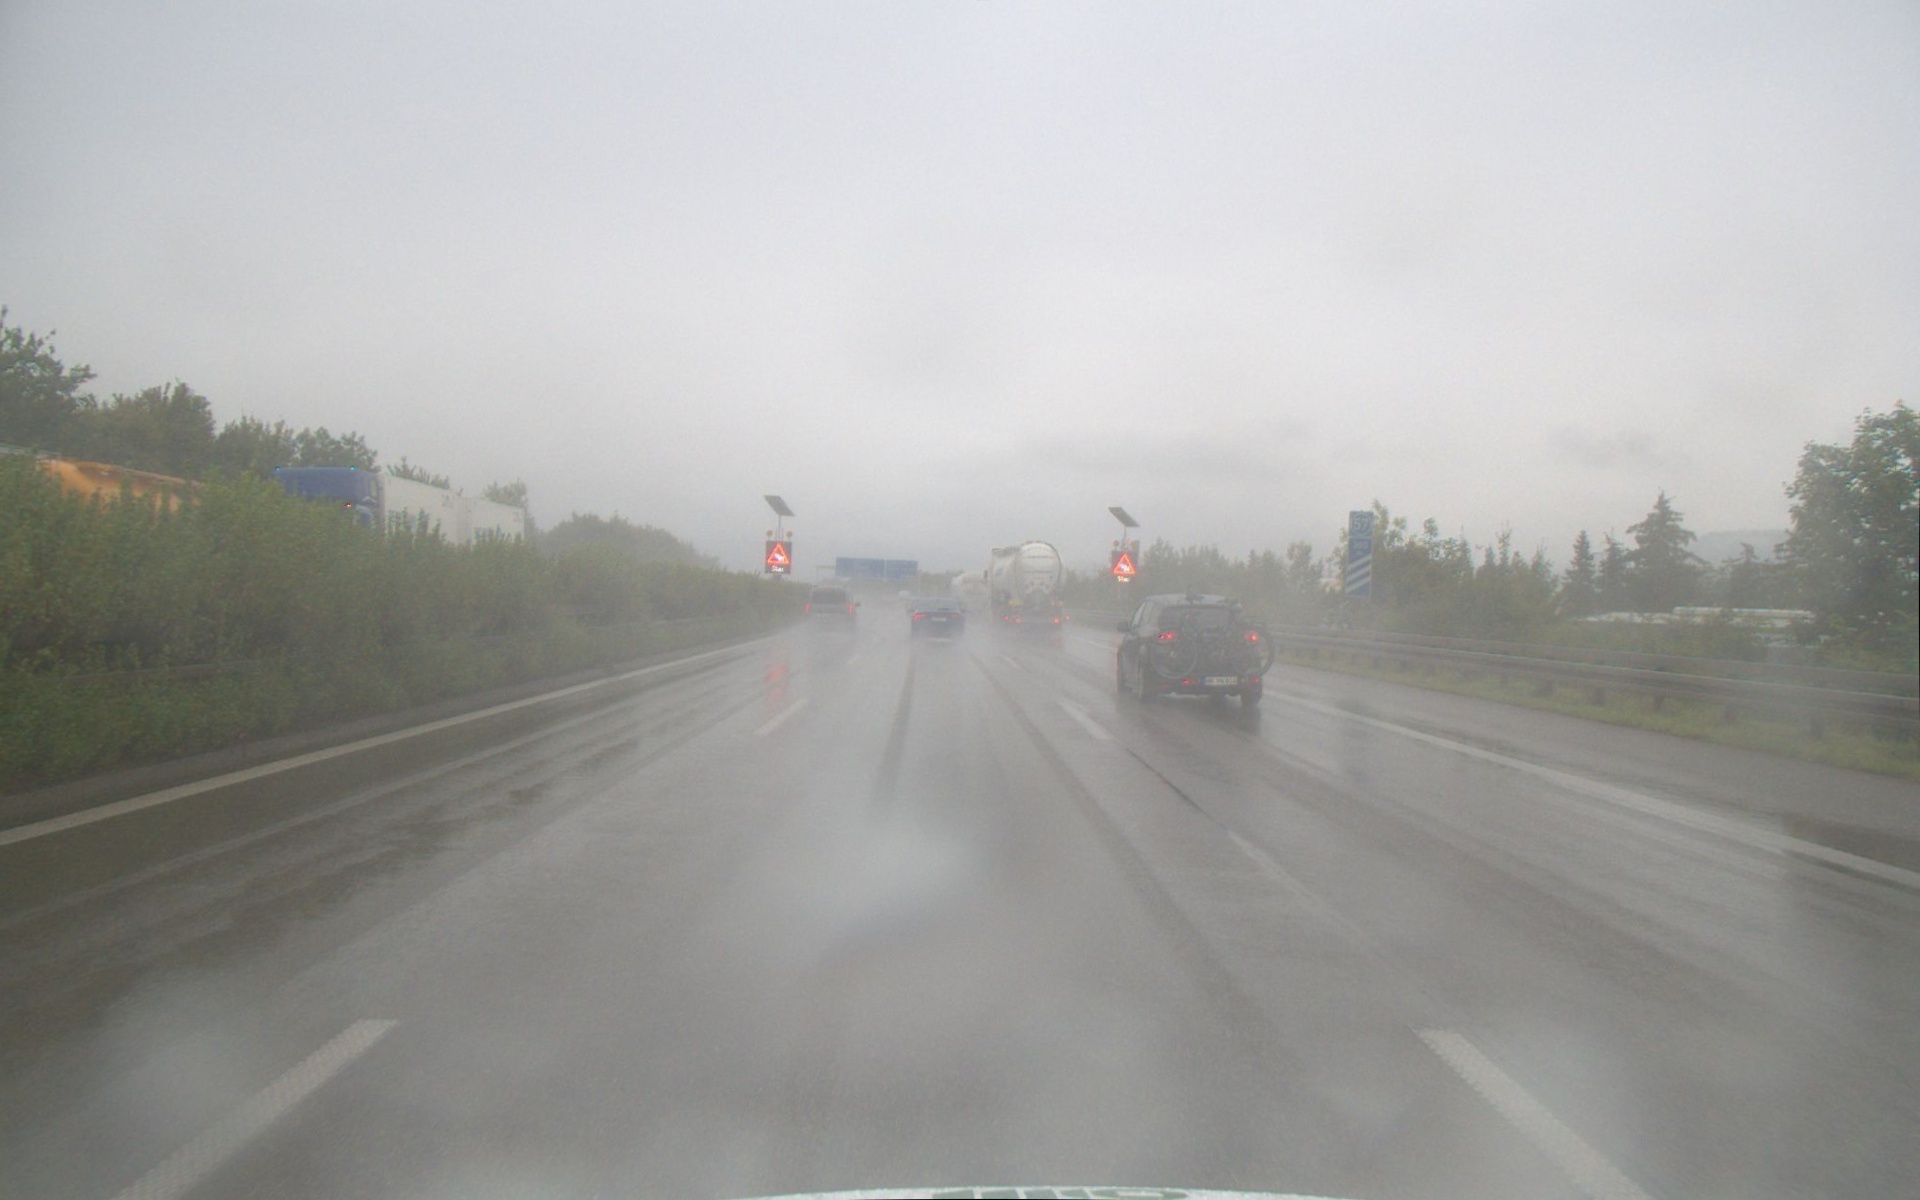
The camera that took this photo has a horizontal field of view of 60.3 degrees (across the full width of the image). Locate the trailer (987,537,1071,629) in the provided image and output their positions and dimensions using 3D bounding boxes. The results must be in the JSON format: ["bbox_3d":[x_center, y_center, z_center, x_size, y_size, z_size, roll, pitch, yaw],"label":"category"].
[{"bbox_3d":[2.925,-0.717,73.402,3.123,3.734,11.665,1,0,0],"label":"trailer"}]

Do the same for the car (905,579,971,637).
[{"bbox_3d":[-0.675,0.244,54.392,1.937,1.787,4.482,1,0,2],"label":"car"}]

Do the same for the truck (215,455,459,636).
[{"bbox_3d":[-17.862,-1.452,48.347,3.758,4.720,9.405,1,0,-2],"label":"truck"}]

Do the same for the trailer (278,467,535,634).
[{"bbox_3d":[-18.041,-1.436,55.659,3.791,4.777,15.022,1,0,-1],"label":"trailer"}]

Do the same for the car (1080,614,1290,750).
[{"bbox_3d":[3.284,1.141,25.476,2.407,1.776,5.718,1,0,0],"label":"car"}]

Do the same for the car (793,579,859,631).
[{"bbox_3d":[-4.801,0.166,59.765,1.885,1.771,4.405,1,0,2],"label":"car"}]

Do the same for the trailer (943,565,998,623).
[{"bbox_3d":[0.656,-0.434,117.164,2.947,3.915,8.612,1,0,-6],"label":"trailer"}]

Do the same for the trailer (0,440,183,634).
[{"bbox_3d":[-21.113,-1.310,35.232,3.133,3.945,13.252,1,0,-2],"label":"trailer"}]
